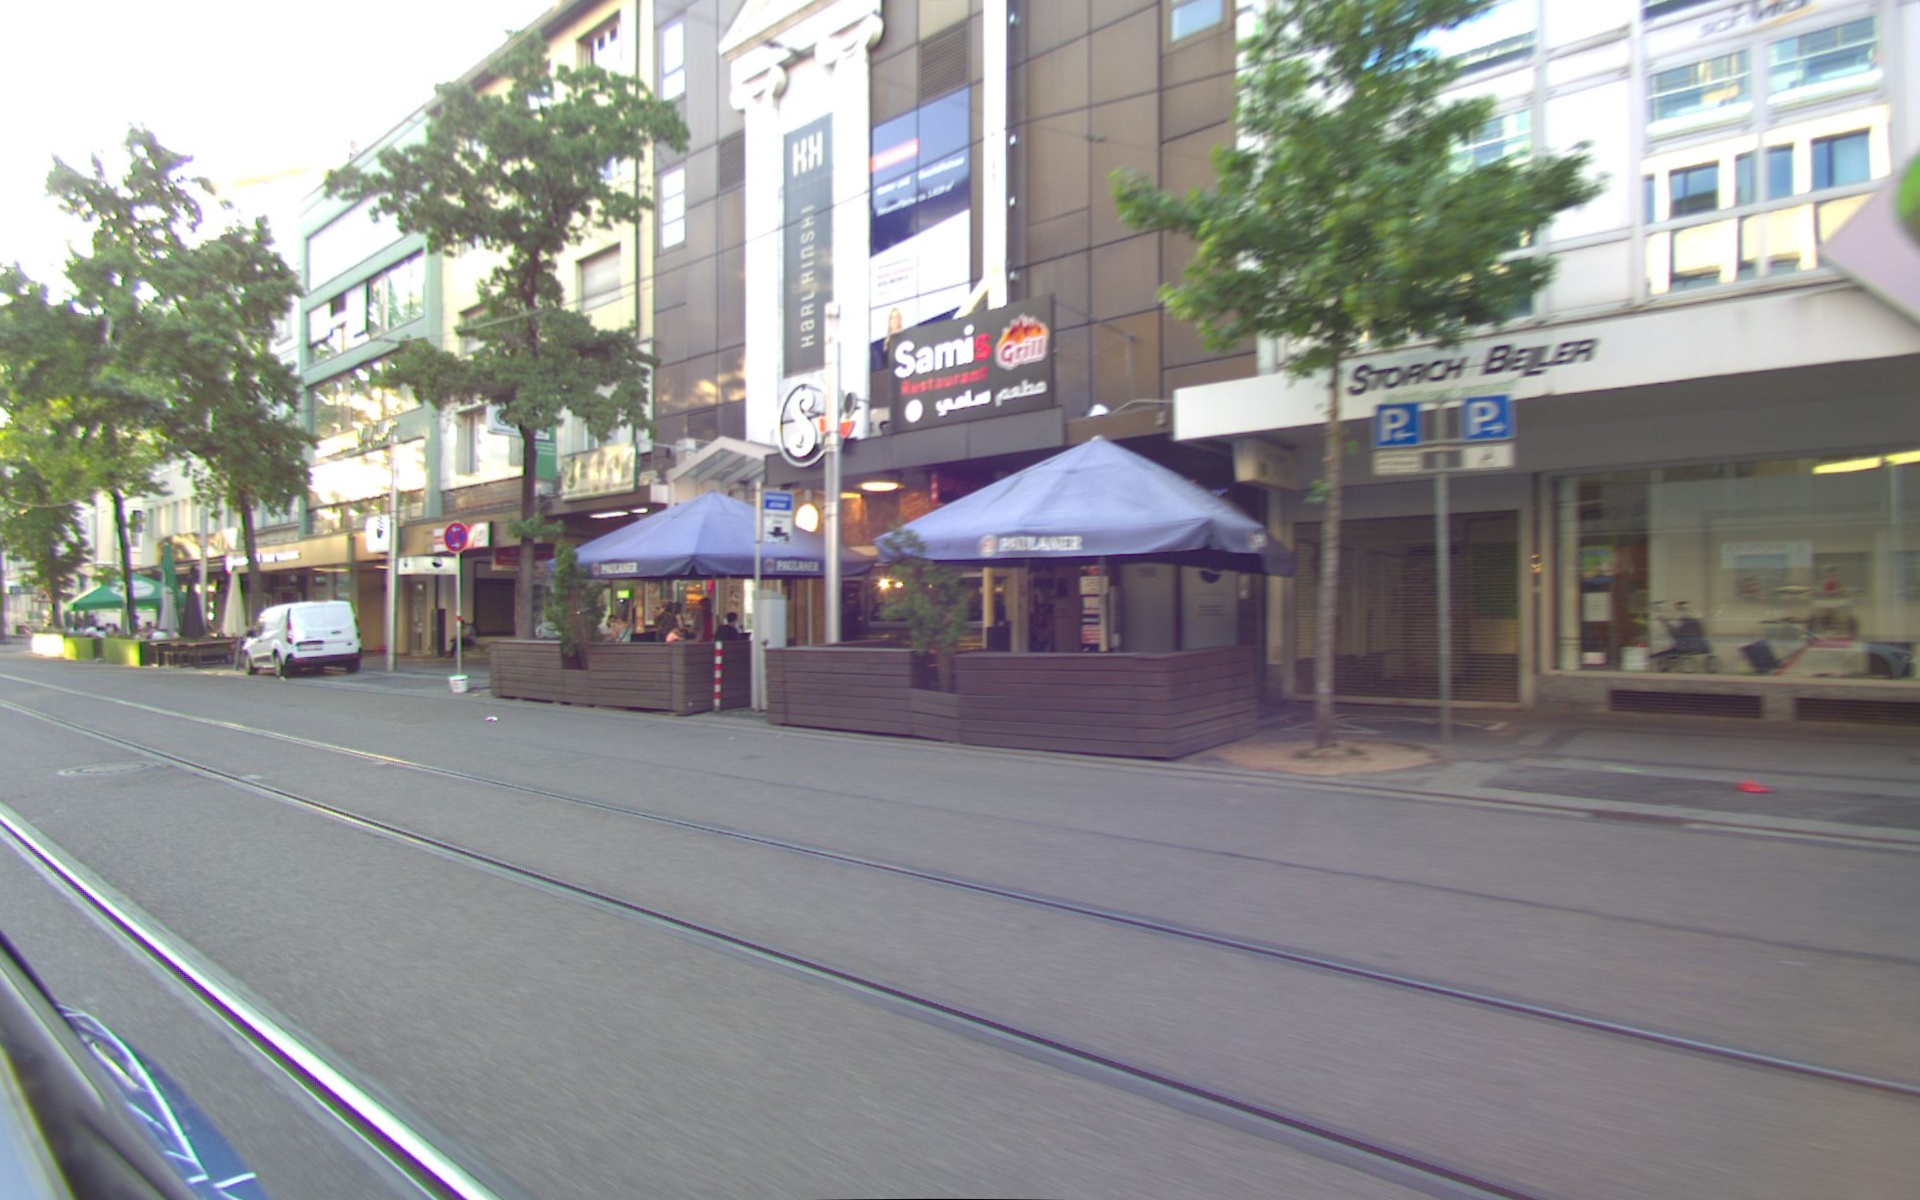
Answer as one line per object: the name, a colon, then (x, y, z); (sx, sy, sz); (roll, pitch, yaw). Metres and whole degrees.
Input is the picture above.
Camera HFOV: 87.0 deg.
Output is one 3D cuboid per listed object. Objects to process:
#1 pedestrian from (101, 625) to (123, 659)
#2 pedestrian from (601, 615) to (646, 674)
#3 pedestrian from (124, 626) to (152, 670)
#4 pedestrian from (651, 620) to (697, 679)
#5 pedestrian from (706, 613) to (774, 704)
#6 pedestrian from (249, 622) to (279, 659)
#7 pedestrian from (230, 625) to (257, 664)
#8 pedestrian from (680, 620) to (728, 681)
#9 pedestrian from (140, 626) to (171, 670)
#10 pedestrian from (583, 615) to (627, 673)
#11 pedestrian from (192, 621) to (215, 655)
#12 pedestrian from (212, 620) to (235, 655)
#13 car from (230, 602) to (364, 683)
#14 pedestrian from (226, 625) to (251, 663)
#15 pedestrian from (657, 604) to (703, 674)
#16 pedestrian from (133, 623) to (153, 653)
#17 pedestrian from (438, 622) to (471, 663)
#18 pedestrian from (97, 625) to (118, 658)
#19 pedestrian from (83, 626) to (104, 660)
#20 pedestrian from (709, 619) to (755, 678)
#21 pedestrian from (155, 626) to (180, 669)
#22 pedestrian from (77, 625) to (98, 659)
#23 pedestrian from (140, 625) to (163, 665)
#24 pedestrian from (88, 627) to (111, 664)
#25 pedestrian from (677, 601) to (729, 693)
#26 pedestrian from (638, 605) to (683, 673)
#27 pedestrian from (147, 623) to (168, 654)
pedestrian: (-35.392, 1.753, 42.227); (0.640, 1.396, 0.651); (1, -2, -43)
pedestrian: (-7.499, 0.987, 22.550); (0.665, 1.237, 0.635); (0, 4, 38)
pedestrian: (-28.310, 1.641, 34.866); (0.650, 1.471, 0.641); (-1, -2, 41)
pedestrian: (-5.964, 1.020, 21.131); (0.665, 1.165, 0.635); (0, 2, 38)
pedestrian: (-3.621, 0.944, 16.652); (0.746, 1.411, 0.756); (0, 2, 39)
pedestrian: (-25.715, 1.497, 37.386); (0.785, 1.326, 0.693); (-1, -1, 36)
pedestrian: (-27.639, 1.715, 39.036); (0.648, 1.471, 0.643); (-1, -1, 32)
pedestrian: (-5.165, 1.012, 20.411); (0.665, 1.165, 0.635); (0, 2, 38)
pedestrian: (-27.412, 1.633, 34.477); (0.639, 1.471, 0.652); (0, -1, -20)
pedestrian: (-8.135, 0.994, 23.193); (0.665, 1.237, 0.635); (0, 4, 38)
pedestrian: (-32.466, 1.620, 43.421); (0.649, 1.471, 0.642); (-1, -1, 37)
pedestrian: (-31.446, 1.610, 43.219); (0.649, 1.471, 0.642); (-1, -1, 37)
car: (-17.254, 1.050, 26.263); (4.328, 1.835, 1.807); (-1, 1, 42)
pedestrian: (-28.310, 1.722, 39.724); (0.649, 1.471, 0.642); (-1, -1, 38)
pedestrian: (-6.111, 0.842, 22.088); (0.642, 1.444, 0.654); (0, 4, 40)
pedestrian: (-40.617, 1.866, 50.310); (0.649, 1.471, 0.642); (-1, -1, 38)
pedestrian: (-15.017, 1.239, 30.054); (0.648, 1.184, 0.642); (-1, 0, 35)
pedestrian: (-36.279, 1.762, 43.054); (0.640, 1.396, 0.651); (1, -2, -43)
pedestrian: (-35.787, 1.756, 41.795); (0.640, 1.396, 0.651); (1, -2, -43)
pedestrian: (-4.764, 1.009, 21.122); (0.665, 1.165, 0.635); (0, 2, 38)
pedestrian: (-27.691, 1.636, 35.371); (0.639, 1.471, 0.652); (0, -1, -33)
pedestrian: (-36.733, 1.765, 42.598); (0.640, 1.396, 0.651); (1, -2, -43)
pedestrian: (-29.957, 1.660, 37.521); (0.639, 1.471, 0.651); (0, -1, -37)
pedestrian: (-33.109, 1.728, 38.930); (0.640, 1.396, 0.651); (1, -2, -43)
pedestrian: (-4.530, 0.817, 17.848); (0.564, 1.564, 0.650); (0, 2, 38)
pedestrian: (-6.667, 0.848, 22.544); (0.642, 1.444, 0.654); (0, 4, 40)
pedestrian: (-38.870, 1.848, 49.020); (0.649, 1.471, 0.642); (-1, -1, 37)
